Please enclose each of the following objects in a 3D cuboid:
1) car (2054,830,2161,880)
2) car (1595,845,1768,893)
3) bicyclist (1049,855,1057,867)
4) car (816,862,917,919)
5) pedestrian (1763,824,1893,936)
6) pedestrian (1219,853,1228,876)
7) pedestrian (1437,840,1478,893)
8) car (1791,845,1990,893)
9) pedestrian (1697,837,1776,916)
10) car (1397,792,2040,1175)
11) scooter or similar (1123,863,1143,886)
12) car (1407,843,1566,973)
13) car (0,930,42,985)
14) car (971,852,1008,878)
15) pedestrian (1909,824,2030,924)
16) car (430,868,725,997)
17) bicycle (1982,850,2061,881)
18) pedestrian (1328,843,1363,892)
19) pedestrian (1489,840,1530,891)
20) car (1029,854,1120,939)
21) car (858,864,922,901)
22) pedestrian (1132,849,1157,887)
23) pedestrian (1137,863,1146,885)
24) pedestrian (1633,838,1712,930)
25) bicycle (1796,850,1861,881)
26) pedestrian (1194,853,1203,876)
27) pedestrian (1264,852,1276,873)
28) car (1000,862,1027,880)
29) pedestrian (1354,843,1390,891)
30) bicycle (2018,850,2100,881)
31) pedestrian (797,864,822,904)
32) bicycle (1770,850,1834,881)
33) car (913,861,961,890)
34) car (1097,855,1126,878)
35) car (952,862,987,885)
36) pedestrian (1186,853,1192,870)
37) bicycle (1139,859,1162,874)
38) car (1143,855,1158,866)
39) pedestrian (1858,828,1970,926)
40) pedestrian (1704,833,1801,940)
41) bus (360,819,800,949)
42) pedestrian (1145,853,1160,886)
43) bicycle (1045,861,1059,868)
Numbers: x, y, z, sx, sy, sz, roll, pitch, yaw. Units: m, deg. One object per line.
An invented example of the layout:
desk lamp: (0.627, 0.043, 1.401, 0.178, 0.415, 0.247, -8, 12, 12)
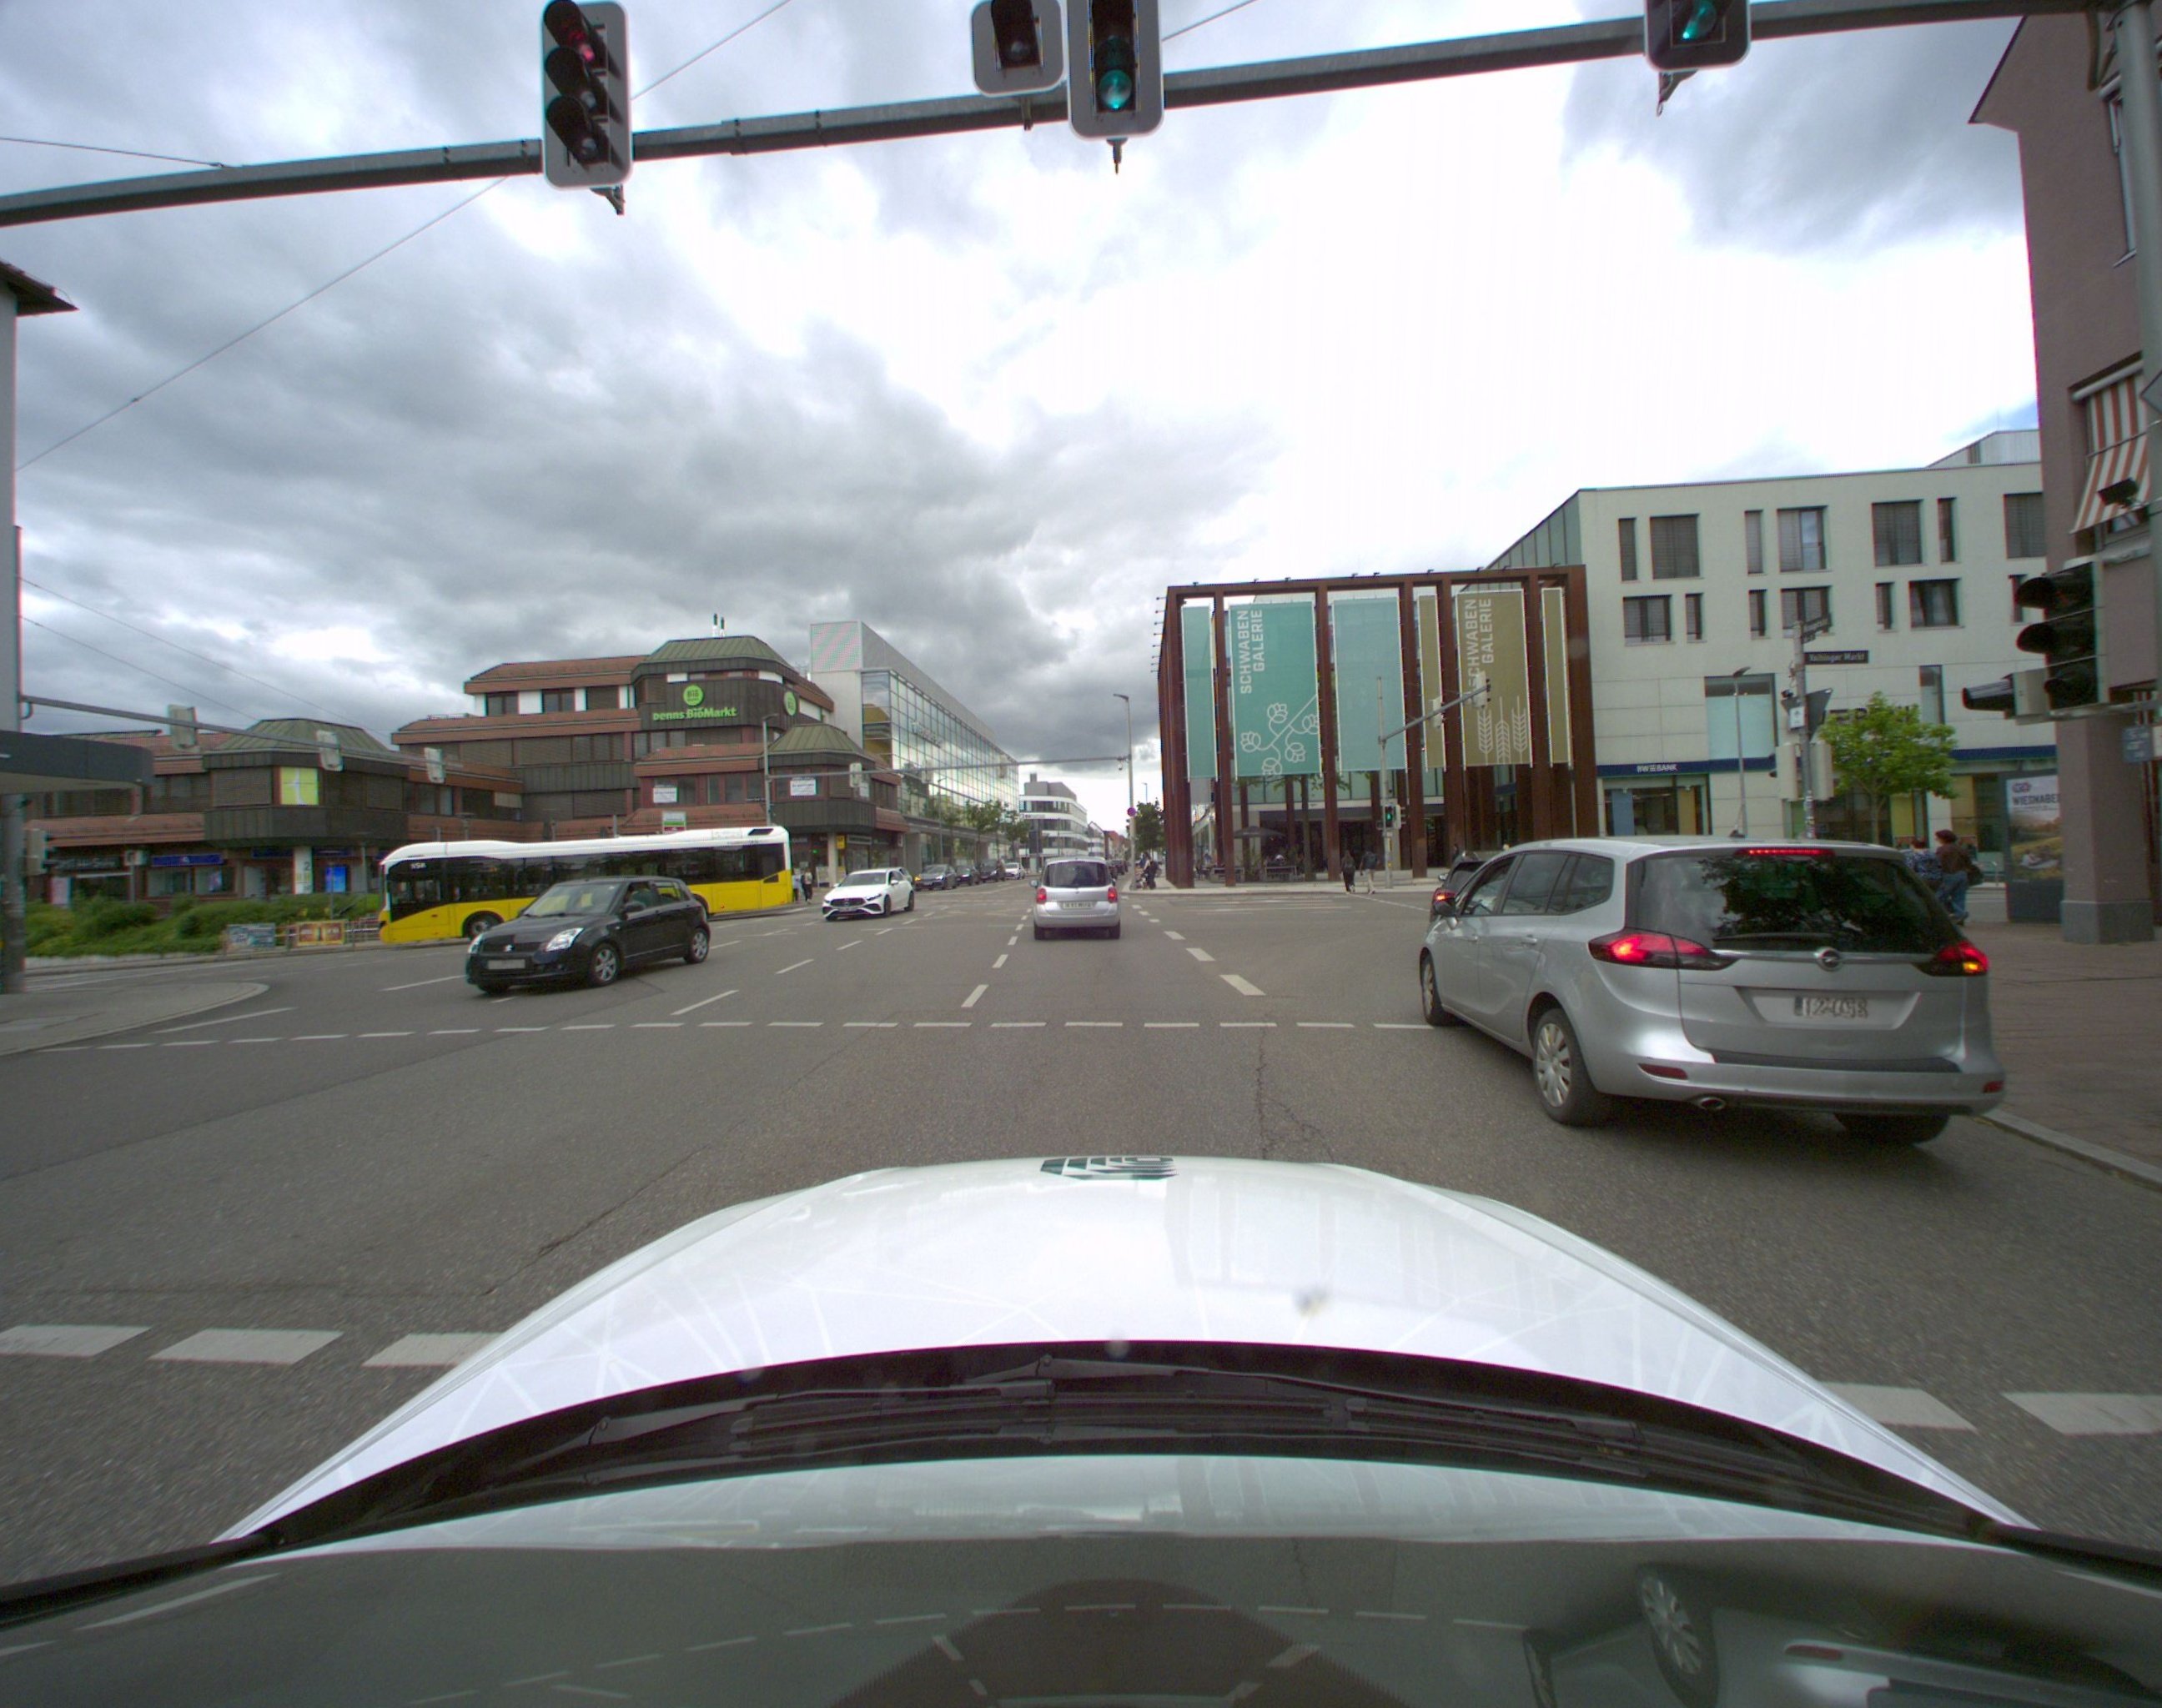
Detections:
car: (34.001, 0.000, 25.633, 4.540, 1.487, 1.801, -1, 0, 1)
car: (18.948, 0.465, 25.827, 4.157, 1.404, 1.801, -1, 0, 1)
bicyclist: (-4.064, 1.039, 117.781, 1.010, 1.660, 0.926, 1, -1, -23)
car: (-6.362, 1.027, 24.660, 1.737, 1.459, 4.237, -3, 0, 2)
pedestrian: (12.086, 0.407, 13.228, 1.051, 1.715, 1.111, -2, 0, 3)
pedestrian: (7.699, 0.581, 44.060, 0.445, 1.220, 0.608, -2, 0, 8)
pedestrian: (13.153, 0.426, 28.458, 0.875, 1.767, 1.121, -2, 0, 1)
car: (25.873, 0.473, 26.134, 4.517, 1.404, 1.802, -1, 0, 2)
pedestrian: (13.842, 0.464, 17.230, 0.817, 1.595, 1.040, -2, 0, 4)
car: (3.720, 0.576, 5.909, 1.729, 1.701, 4.391, 0, 0, 8)
scooter or similar: (2.293, 0.907, 35.815, 0.627, 0.961, 0.625, -2, -1, 38)
car: (6.409, 0.659, 12.627, 1.833, 1.609, 4.891, 0, 0, 30)
car: (-32.486, 3.095, 23.154, 3.965, 1.486, 1.819, -4, -1, 7)
car: (-7.325, 0.884, 65.805, 1.856, 1.910, 5.121, -3, 0, 5)
pedestrian: (14.733, 0.320, 13.540, 0.827, 1.584, 1.058, -2, 0, 0)
car: (-7.138, 1.023, 12.092, 1.736, 1.459, 3.822, -3, 0, 4)
bicycle: (35.053, 0.410, 30.391, 0.715, 1.102, 1.994, -2, 0, 4)
pedestrian: (9.561, 0.479, 29.435, 0.875, 1.681, 1.121, -2, 0, 1)
pedestrian: (15.630, 0.415, 29.713, 0.875, 1.767, 1.121, -2, 0, 1)
car: (-0.035, 0.783, 16.737, 1.663, 1.554, 3.644, 0, 0, 2)
car: (-9.268, 1.356, 39.853, 1.626, 1.418, 4.207, -4, 1, 7)
pedestrian: (2.827, 0.621, 36.266, 0.861, 1.646, 0.684, -2, 0, 38)
pedestrian: (2.647, 0.877, 35.486, 0.360, 0.924, 0.455, -2, 0, 7)
pedestrian: (11.059, 0.544, 15.249, 0.738, 1.626, 0.954, -2, 0, 1)
bicycle: (28.104, 0.421, 30.663, 0.715, 1.102, 1.994, -2, 0, 4)
pedestrian: (6.389, 0.585, 44.224, 0.445, 1.220, 0.608, -2, 0, 7)
pedestrian: (11.154, 0.476, 48.036, 0.513, 1.208, 0.796, -2, 1, 2)
car: (-6.077, 1.477, 73.649, 1.652, 1.465, 4.005, -3, 0, 5)
pedestrian: (10.522, 0.473, 29.443, 0.875, 1.681, 1.121, -2, 0, 1)
bicycle: (36.178, 0.405, 30.171, 0.715, 1.102, 1.994, -2, 0, 4)
pedestrian: (-11.925, 1.302, 35.799, 0.746, 1.693, 0.777, -2, 0, 0)
bicycle: (27.116, 0.423, 30.655, 0.715, 1.102, 1.994, -2, 0, 4)
car: (-8.595, 1.266, 48.987, 1.751, 1.517, 4.391, -3, 0, 4)
car: (2.167, 0.875, 57.781, 1.660, 1.554, 3.650, 0, 0, 8)
car: (-7.707, 1.327, 56.573, 1.695, 1.443, 4.002, -2, 0, 2)
pedestrian: (10.295, 0.711, 77.638, 0.425, 1.549, 0.482, -2, -1, 2)
bicycle: (4.953, 0.867, 57.837, 1.552, 0.992, 0.754, -2, 0, 7)
car: (8.744, 0.857, 102.020, 1.868, 1.335, 4.006, 0, 0, 5)
pedestrian: (13.840, 0.367, 13.559, 0.827, 1.558, 0.969, -2, 0, 0)
pedestrian: (10.816, 0.508, 13.152, 0.738, 1.626, 0.954, -2, 0, 1)
bus: (-16.576, 0.820, 28.425, 12.340, 3.327, 2.969, -4, 0, -29)
pedestrian: (3.123, 0.663, 35.486, 0.598, 1.420, 0.583, -2, 0, 6)
bicycle: (-4.194, 1.577, 118.084, 1.010, 1.018, 3.106, 1, -1, -22)
